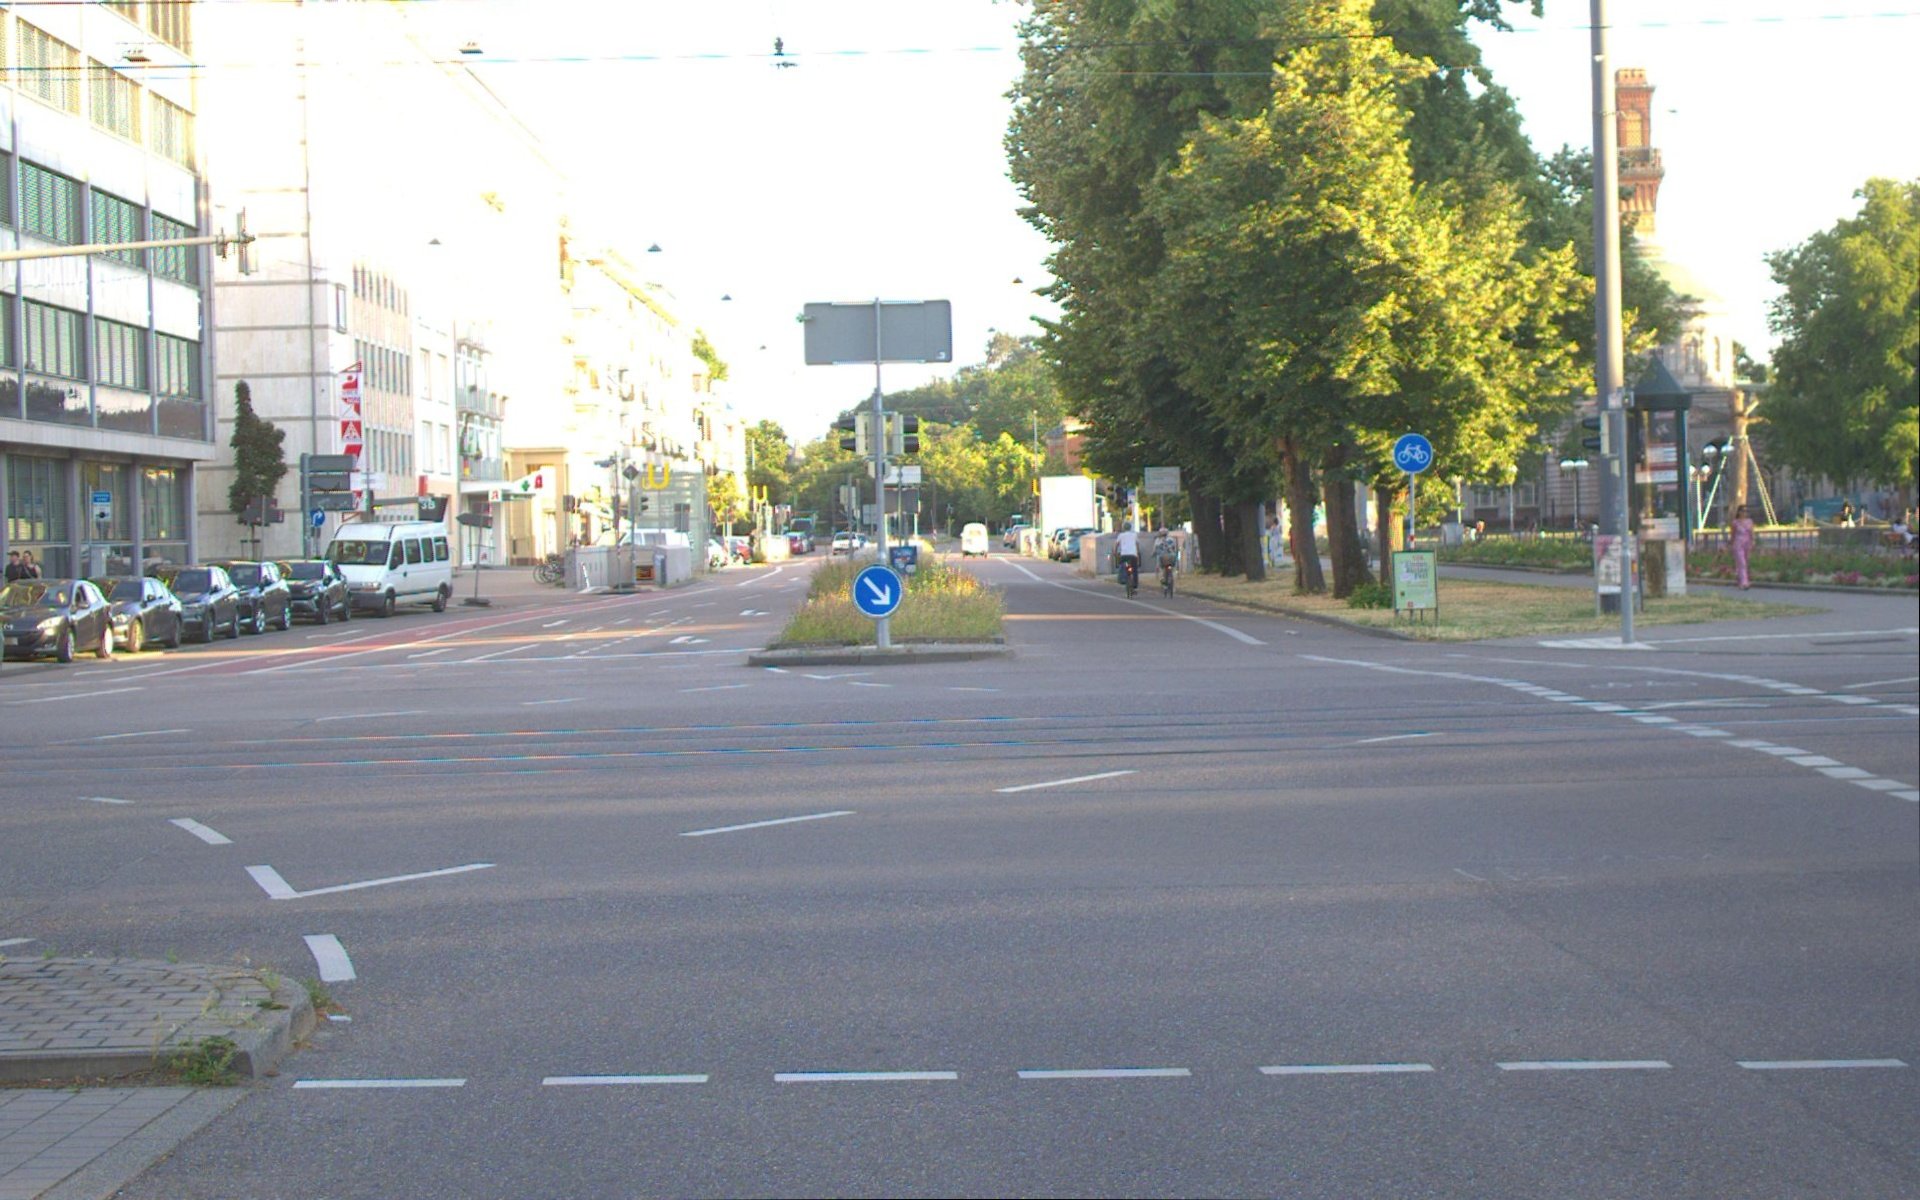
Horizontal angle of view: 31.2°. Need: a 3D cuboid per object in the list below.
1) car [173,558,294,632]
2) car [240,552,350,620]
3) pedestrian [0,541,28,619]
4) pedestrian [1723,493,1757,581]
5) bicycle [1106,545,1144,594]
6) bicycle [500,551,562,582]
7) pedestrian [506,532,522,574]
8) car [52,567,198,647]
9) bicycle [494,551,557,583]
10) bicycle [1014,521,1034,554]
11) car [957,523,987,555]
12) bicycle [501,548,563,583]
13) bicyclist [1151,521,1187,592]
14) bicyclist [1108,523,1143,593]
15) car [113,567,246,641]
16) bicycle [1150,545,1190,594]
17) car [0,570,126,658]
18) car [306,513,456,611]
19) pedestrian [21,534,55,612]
[{"bbox_3d":[-16.561,-0.140,78.544,1.920,1.563,4.000,-2,1,-1],"label":"car"},{"bbox_3d":[-16.363,-0.373,84.771,1.920,1.563,4.000,-2,1,-1],"label":"car"},{"bbox_3d":[-20.644,-0.439,74.930,0.500,1.673,0.500,-2,1,-1],"label":"pedestrian"},{"bbox_3d":[14.777,-1.200,65.132,0.460,1.651,0.567,-1,1,-1],"label":"pedestrian"},{"bbox_3d":[3.960,-0.741,82.609,0.746,1.140,2.505,-2,1,-1],"label":"bicycle"},{"bbox_3d":[-15.830,-1.235,126.962,2.205,1.108,0.689,-2,1,-2],"label":"bicycle"},{"bbox_3d":[-21.387,-2.270,164.906,0.680,2.007,0.545,-2,1,0],"label":"pedestrian"},{"bbox_3d":[-16.579,0.111,68.428,1.920,1.459,4.000,-2,1,-1],"label":"car"},{"bbox_3d":[-15.845,-1.207,125.446,2.205,1.108,0.619,-2,1,-2],"label":"bicycle"},{"bbox_3d":[3.890,-3.803,208.868,1.002,2.007,4.000,-1,1,4],"label":"bicycle"},{"bbox_3d":[0.617,-3.197,180.343,1.408,1.636,4.000,-2,1,-2],"label":"car"},{"bbox_3d":[-16.028,-1.302,128.872,2.205,1.232,0.839,-2,1,-2],"label":"bicycle"},{"bbox_3d":[5.011,-1.045,82.452,0.746,1.685,0.799,-2,1,-1],"label":"bicyclist"},{"bbox_3d":[3.957,-1.016,82.370,0.746,1.658,0.873,-2,1,-1],"label":"bicyclist"},{"bbox_3d":[-16.583,0.063,73.243,1.920,1.459,4.000,-2,1,-1],"label":"car"},{"bbox_3d":[5.023,-0.745,82.456,0.746,1.140,2.505,-2,1,-1],"label":"bicycle"},{"bbox_3d":[-16.490,0.241,61.932,1.920,1.459,4.103,-2,1,-1],"label":"car"},{"bbox_3d":[-15.304,-1.043,91.221,2.002,2.469,5.865,-1,1,10],"label":"car"},{"bbox_3d":[-19.945,-0.586,74.385,0.551,1.673,0.500,-2,1,-1],"label":"pedestrian"}]
